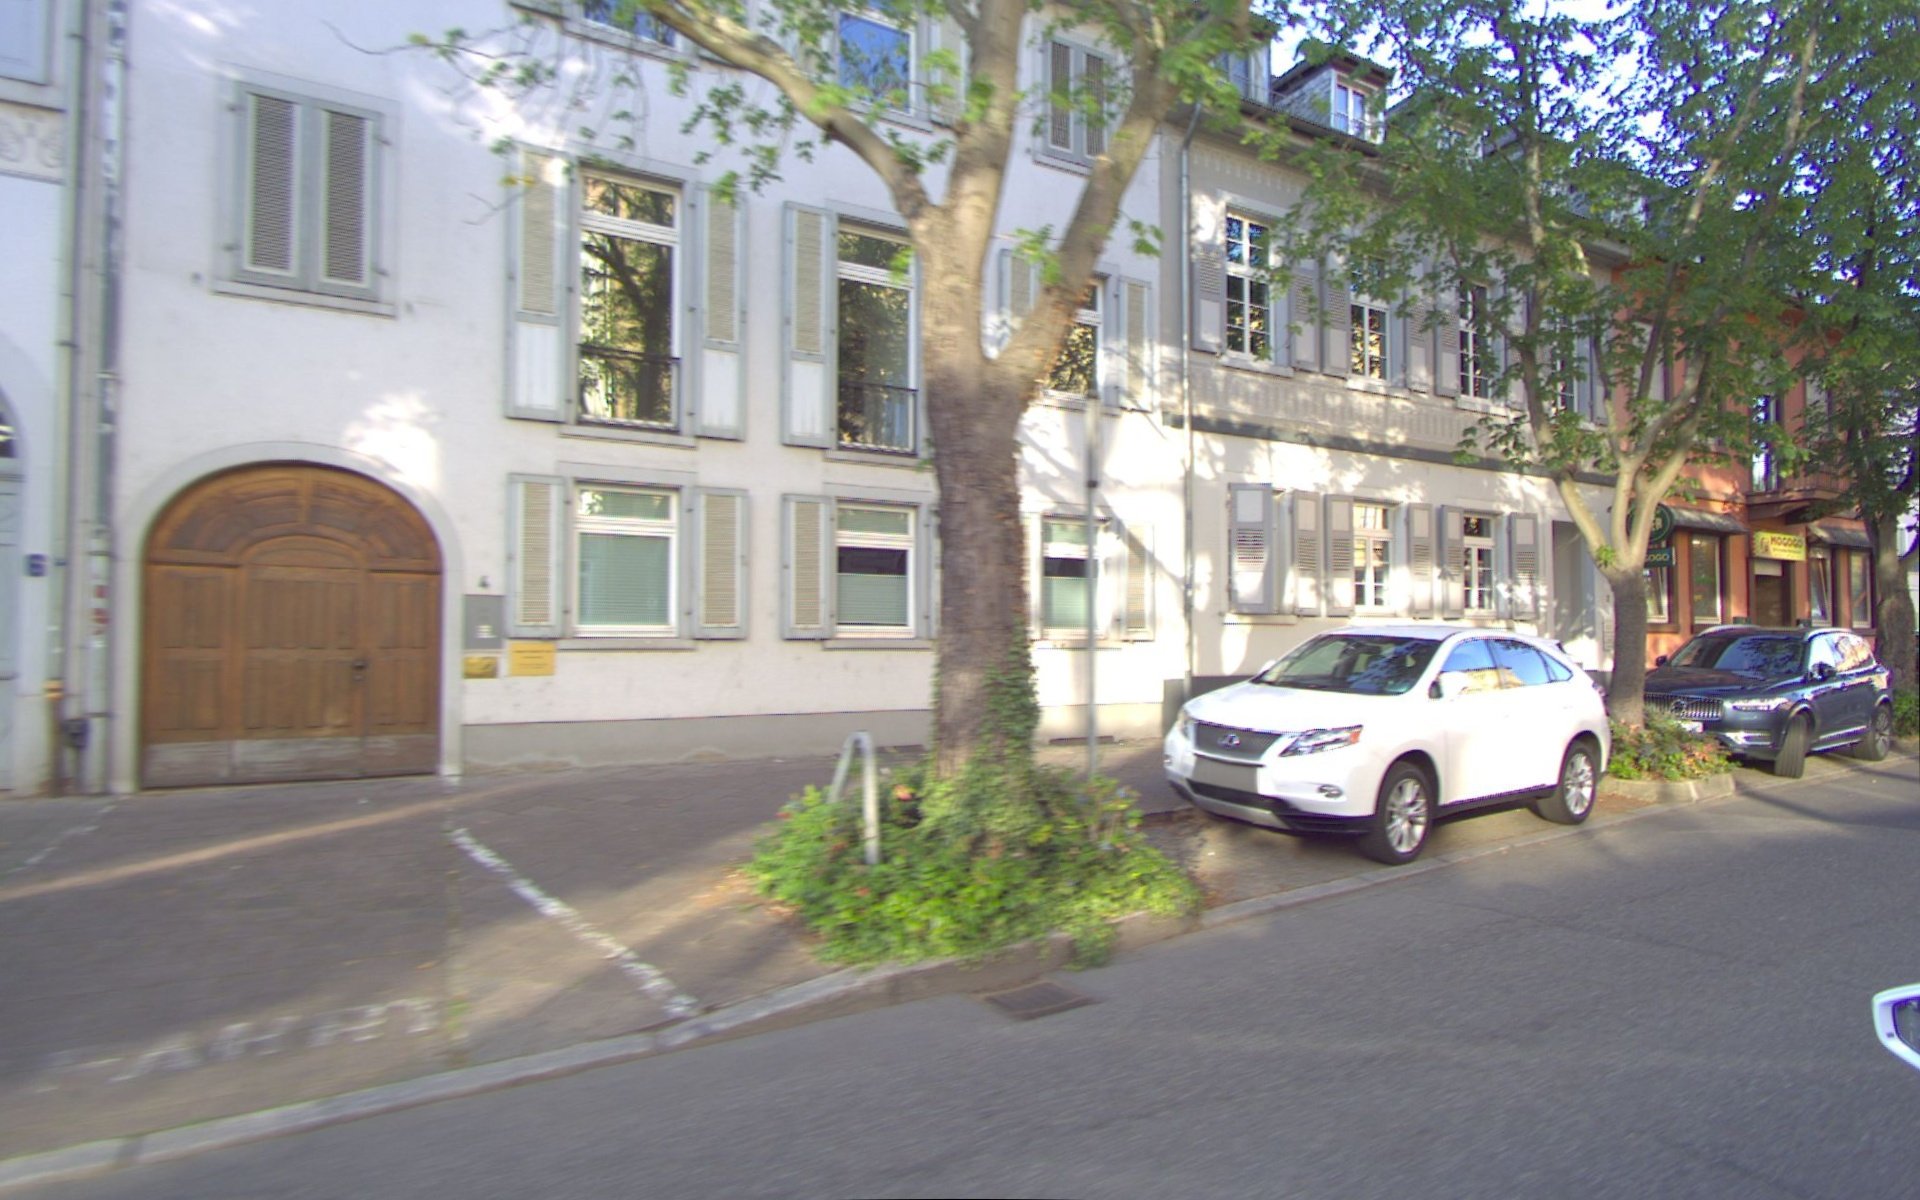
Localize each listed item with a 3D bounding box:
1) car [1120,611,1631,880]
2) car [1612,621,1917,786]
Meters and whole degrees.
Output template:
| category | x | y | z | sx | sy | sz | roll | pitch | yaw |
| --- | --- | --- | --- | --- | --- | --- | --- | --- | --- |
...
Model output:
| category | x | y | z | sx | sy | sz | roll | pitch | yaw |
| --- | --- | --- | --- | --- | --- | --- | --- | --- | --- |
| car | 3.710 | 1.015 | 8.628 | 4.609 | 1.690 | 1.816 | 2 | 1 | -35 |
| car | 10.959 | 1.249 | 13.559 | 4.997 | 1.783 | 1.816 | 2 | 1 | -35 |
